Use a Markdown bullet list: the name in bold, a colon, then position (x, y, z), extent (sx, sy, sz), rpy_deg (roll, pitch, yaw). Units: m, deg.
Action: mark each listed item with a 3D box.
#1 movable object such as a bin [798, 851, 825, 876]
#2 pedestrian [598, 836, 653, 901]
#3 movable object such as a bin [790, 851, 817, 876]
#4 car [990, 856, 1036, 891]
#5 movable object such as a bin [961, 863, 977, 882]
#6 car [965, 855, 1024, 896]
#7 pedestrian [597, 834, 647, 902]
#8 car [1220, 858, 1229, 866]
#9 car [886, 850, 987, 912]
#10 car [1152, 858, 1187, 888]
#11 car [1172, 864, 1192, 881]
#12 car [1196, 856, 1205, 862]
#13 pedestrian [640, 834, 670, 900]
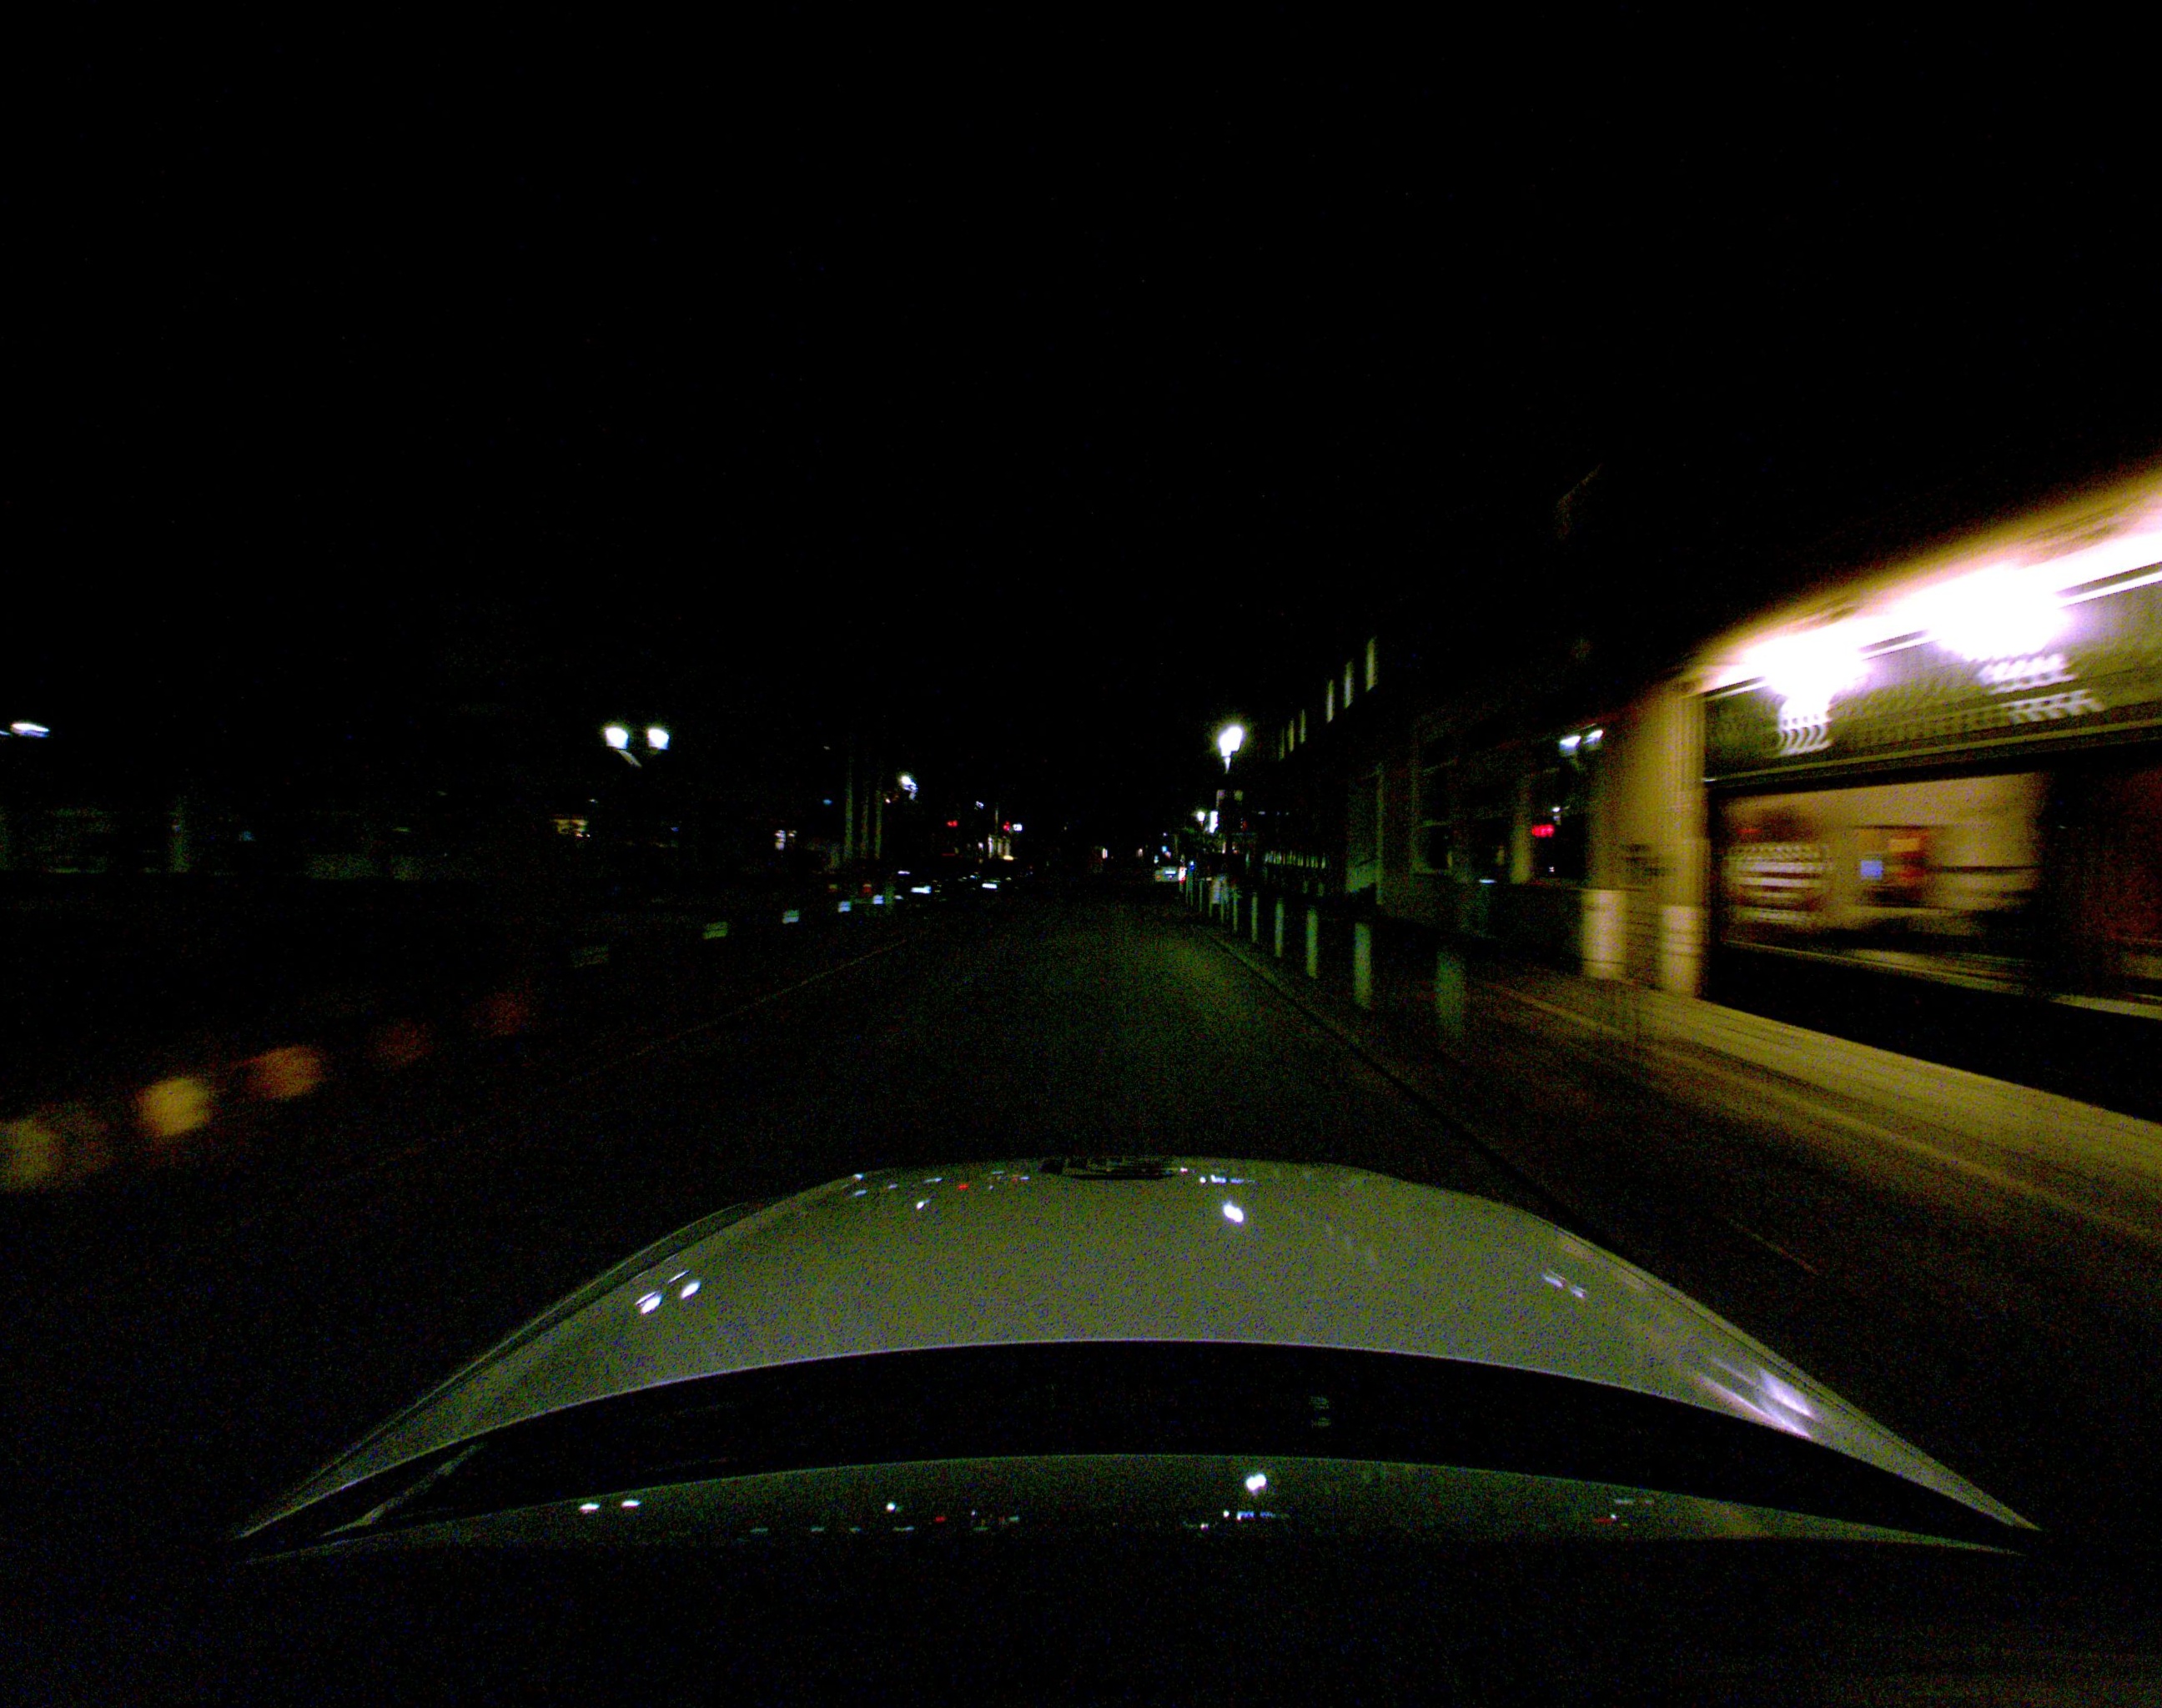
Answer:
- **movable object such as a bin**: position (-16.304, 0.595, 49.329), extent (1.126, 1.458, 1.229), rpy_deg (1, -2, 4)
- **pedestrian**: position (-13.134, 0.406, 23.508), extent (0.785, 1.817, 1.029), rpy_deg (2, -1, 23)
- **movable object such as a bin**: position (-16.381, 0.575, 48.025), extent (1.032, 1.444, 1.287), rpy_deg (1, -2, 4)
- **car**: position (-3.347, 0.926, 40.810), extent (1.752, 1.637, 4.816), rpy_deg (0, 0, 2)
- **movable object such as a bin**: position (-6.370, 1.048, 46.350), extent (0.744, 1.065, 0.793), rpy_deg (0, -2, 2)
- **car**: position (-3.510, 0.859, 33.909), extent (1.899, 1.542, 4.781), rpy_deg (1, 0, 0)
- **pedestrian**: position (-12.774, 0.394, 22.653), extent (0.870, 1.832, 0.795), rpy_deg (2, -1, 28)
- **car**: position (27.107, 1.566, 153.905), extent (1.664, 1.460, 3.687), rpy_deg (0, 0, 11)
- **car**: position (-4.039, 0.738, 23.470), extent (1.763, 1.574, 4.487), rpy_deg (2, -1, 4)
- **car**: position (4.606, 1.026, 42.934), extent (1.734, 1.488, 4.642), rpy_deg (0, -1, 5)
- **car**: position (9.011, 1.643, 72.265), extent (1.725, 1.441, 4.506), rpy_deg (0, 0, 8)
- **car**: position (29.741, 1.287, 202.713), extent (1.900, 1.370, 4.475), rpy_deg (0, 1, 15)
- **pedestrian**: position (-12.017, 0.374, 22.986), extent (0.496, 1.822, 0.506), rpy_deg (0, -2, 27)
